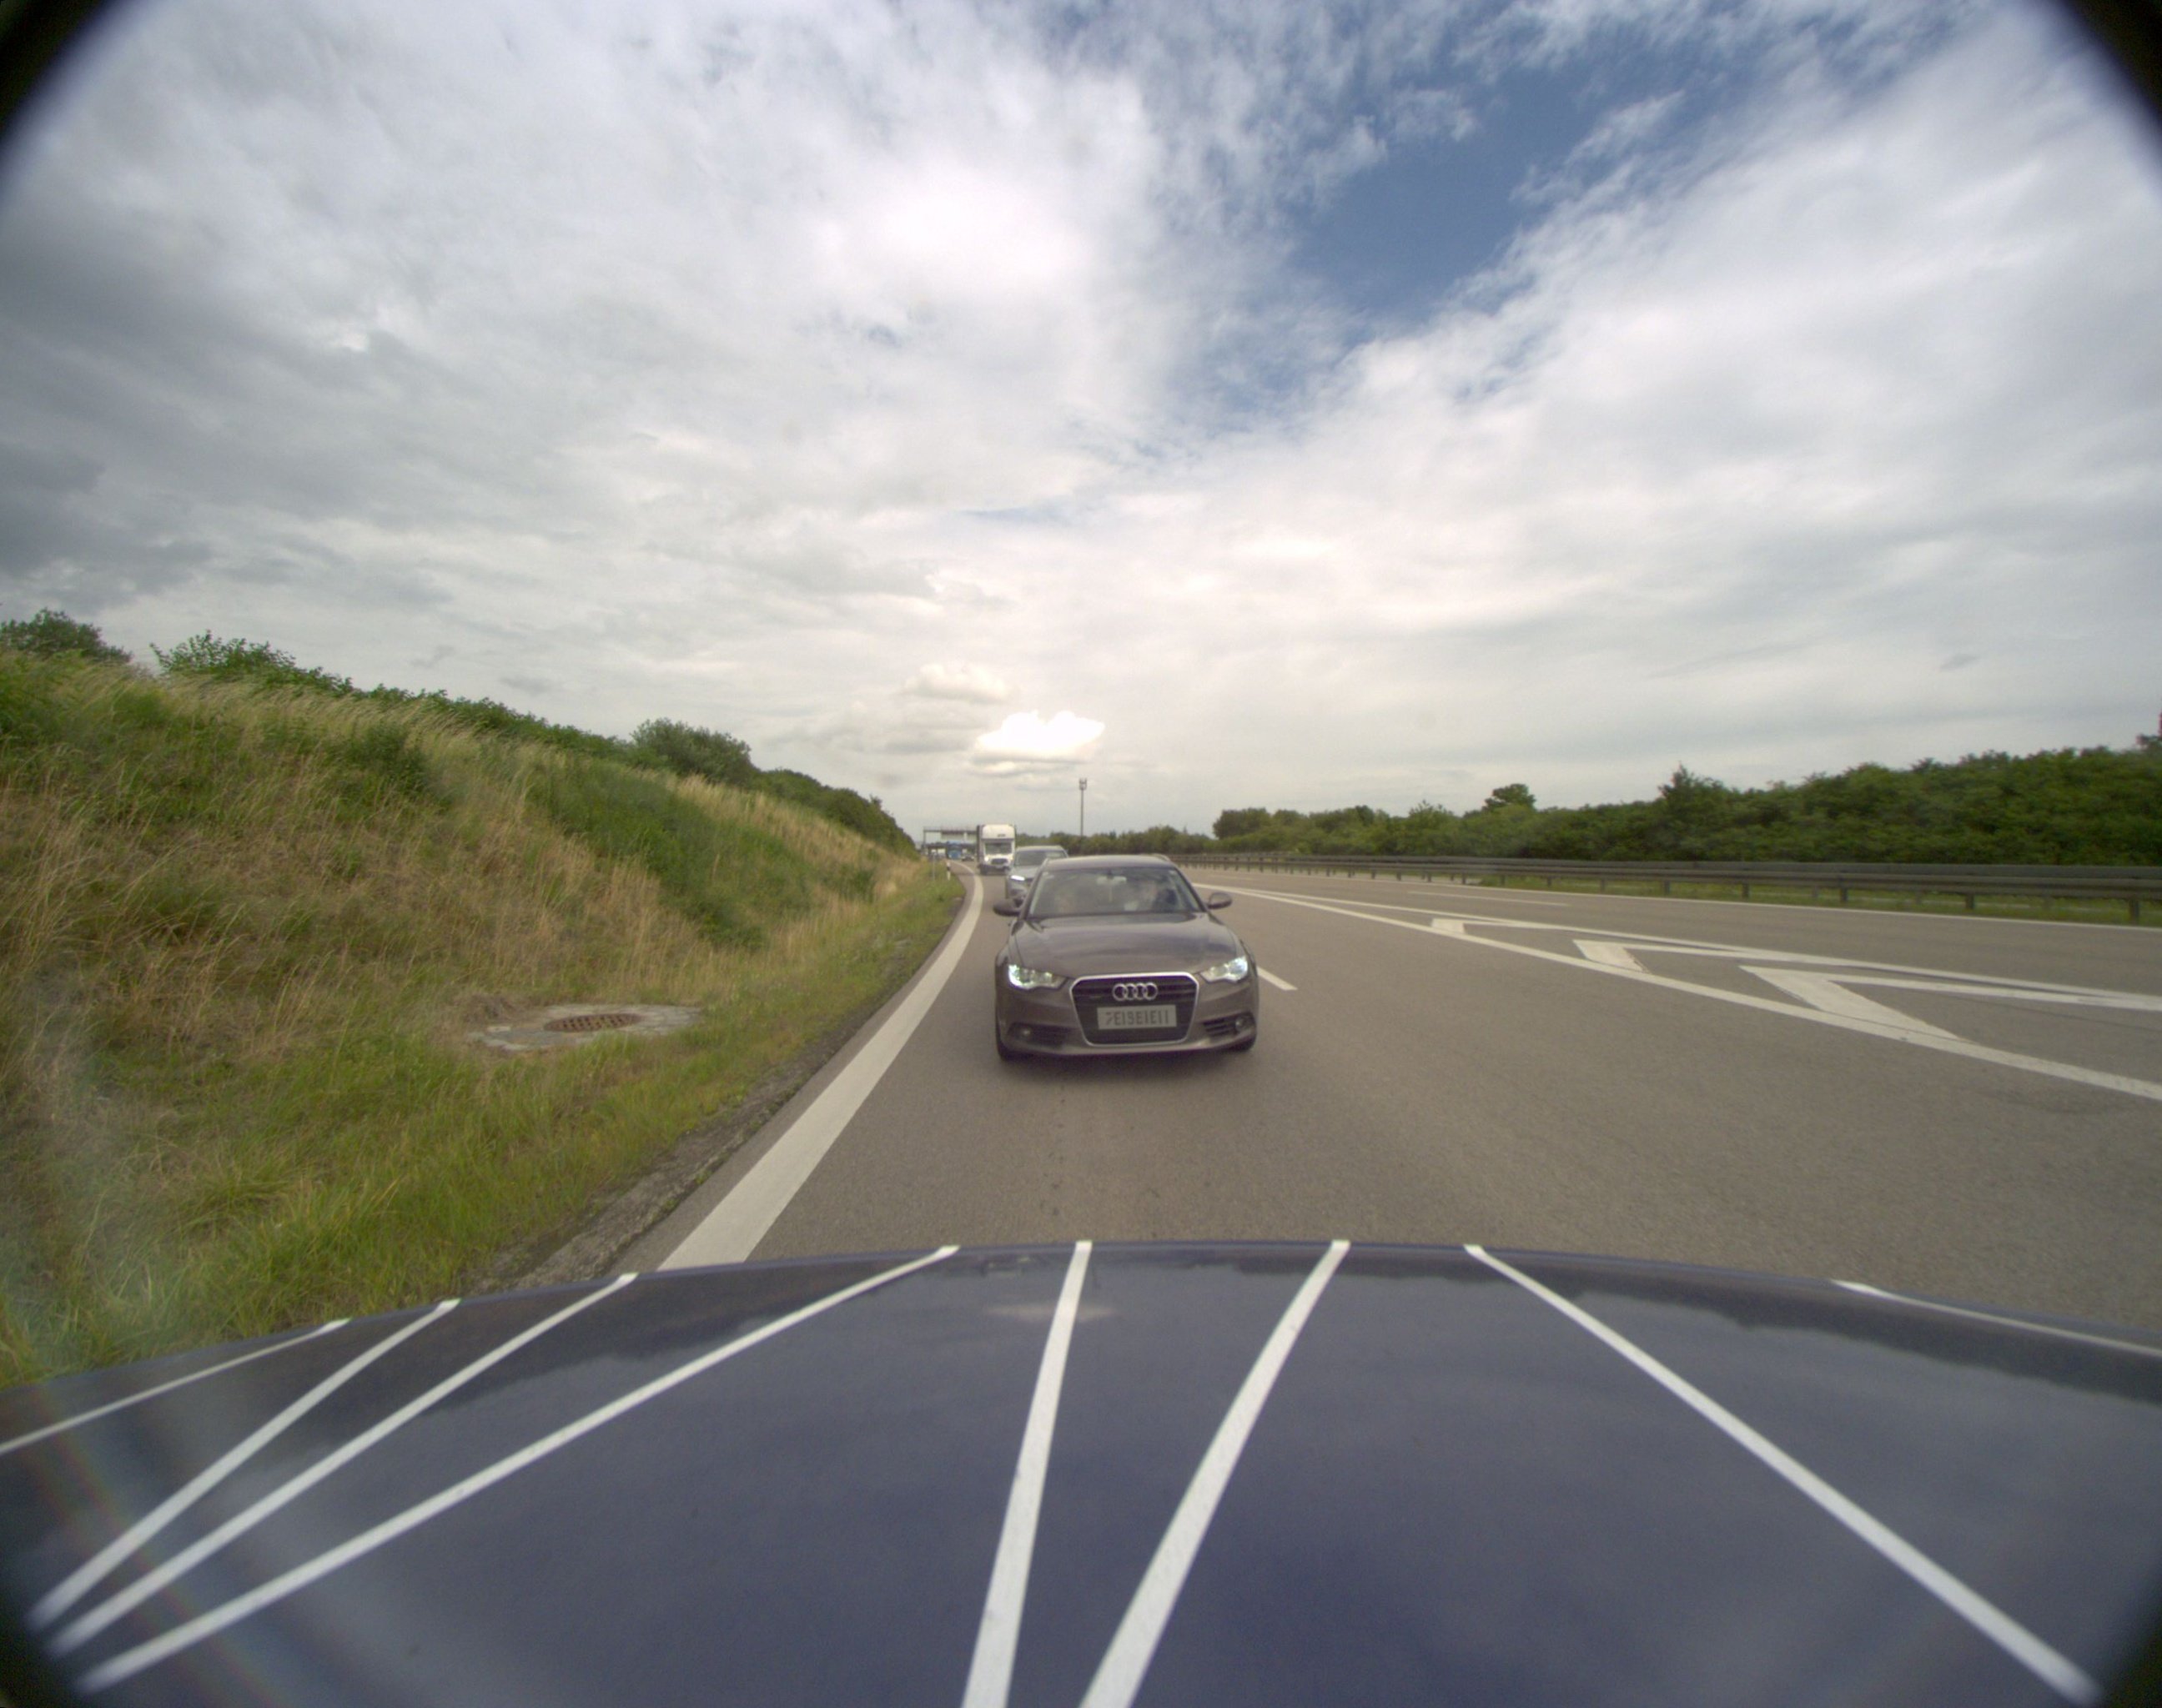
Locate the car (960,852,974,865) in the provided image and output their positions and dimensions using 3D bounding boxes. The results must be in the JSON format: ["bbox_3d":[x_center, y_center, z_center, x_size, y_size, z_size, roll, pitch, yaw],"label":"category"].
[{"bbox_3d":[-18.144,0.680,120.732,2.000,2.002,3.996,-1,1,-11],"label":"car"}]

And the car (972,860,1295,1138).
[{"bbox_3d":[0.255,0.857,6.442,1.849,1.489,4.027,-2,1,-2],"label":"car"}]

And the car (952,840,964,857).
[{"bbox_3d":[-26.985,-1.214,166.459,2.506,3.689,7.693,-1,1,-11],"label":"car"}]

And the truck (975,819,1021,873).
[{"bbox_3d":[-5.447,-0.511,49.014,2.450,3.217,7.184,-1,1,-10],"label":"truck"}]

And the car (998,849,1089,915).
[{"bbox_3d":[-1.113,0.662,20.330,2.000,1.567,3.996,-1,1,-9],"label":"car"}]

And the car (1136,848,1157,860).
[{"bbox_3d":[9.307,-0.024,108.594,2.000,1.792,3.996,0,1,-10],"label":"car"}]
